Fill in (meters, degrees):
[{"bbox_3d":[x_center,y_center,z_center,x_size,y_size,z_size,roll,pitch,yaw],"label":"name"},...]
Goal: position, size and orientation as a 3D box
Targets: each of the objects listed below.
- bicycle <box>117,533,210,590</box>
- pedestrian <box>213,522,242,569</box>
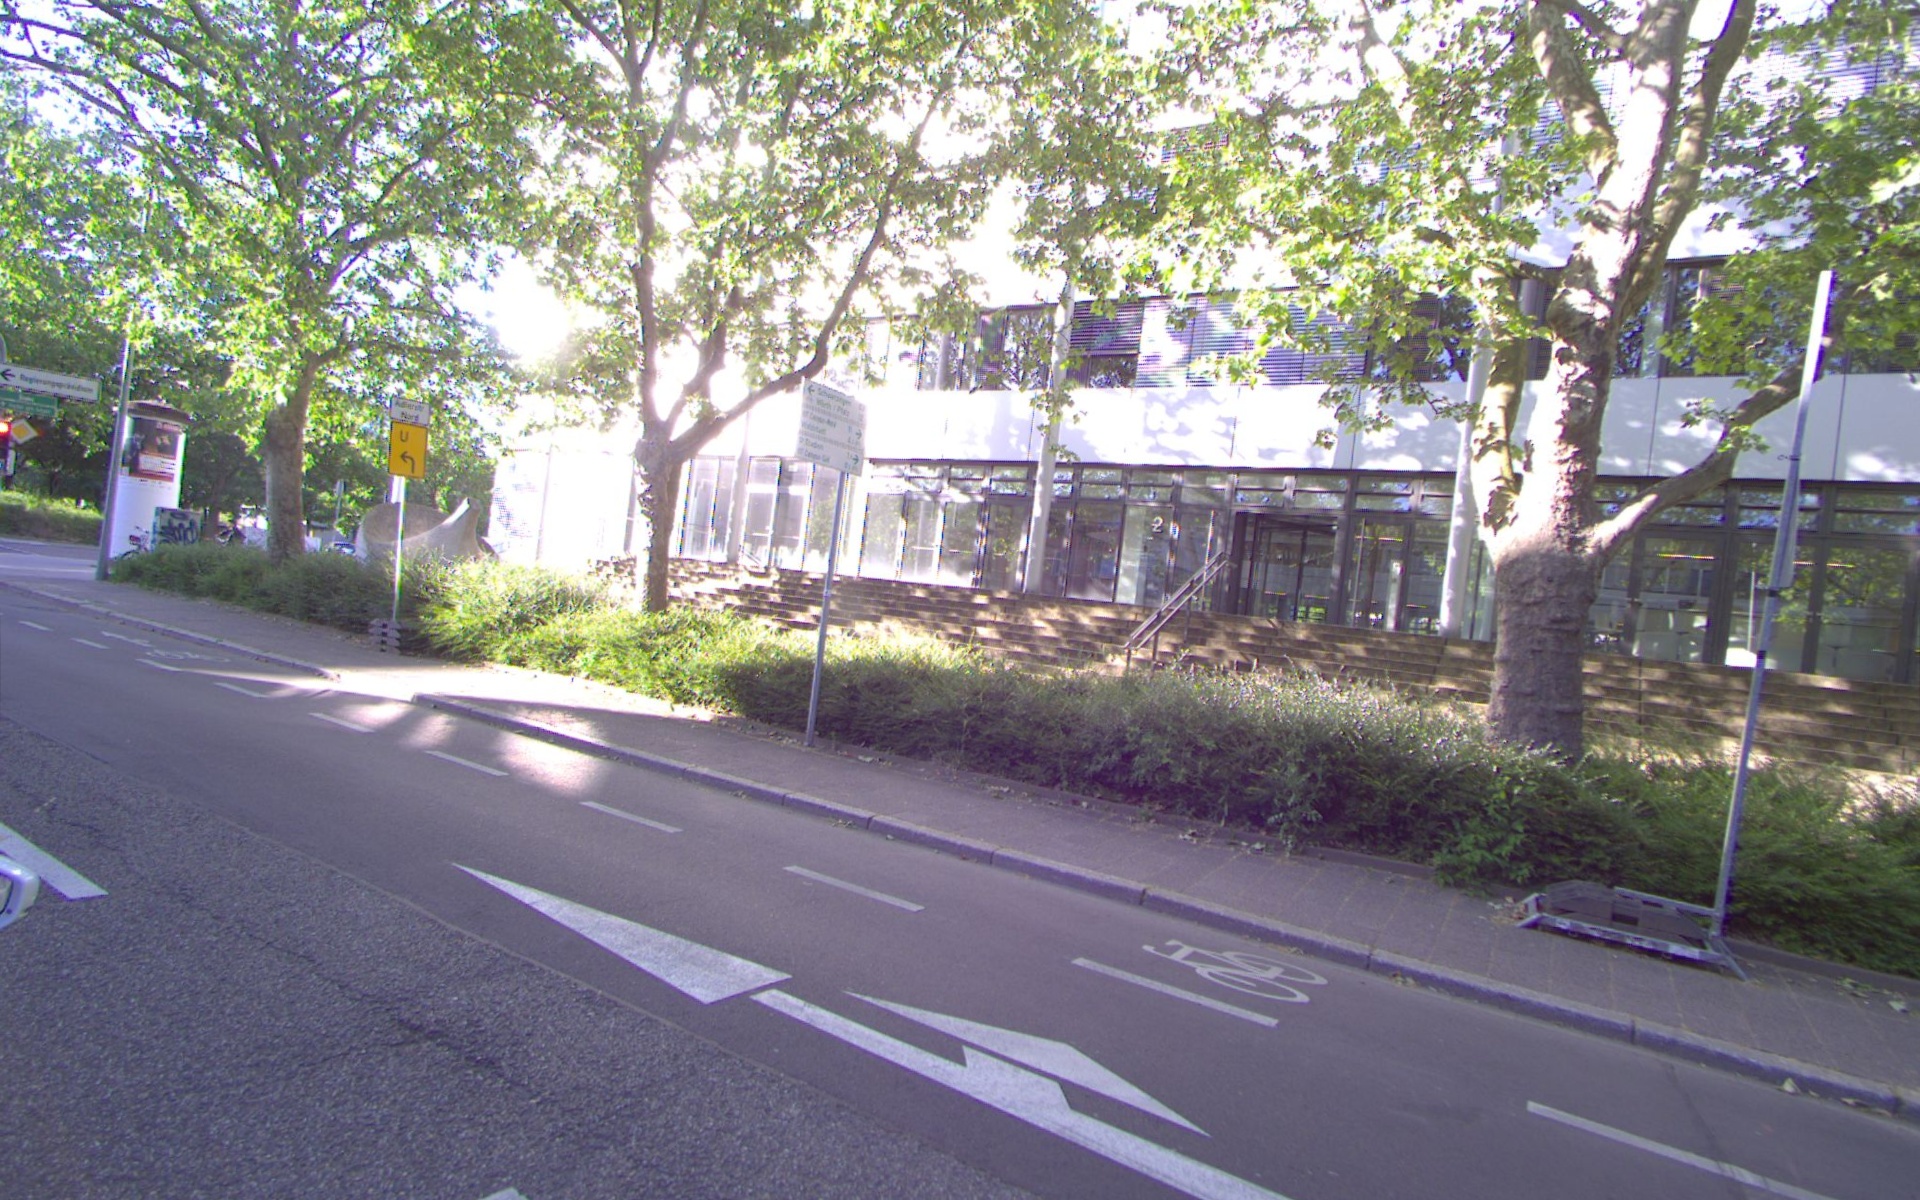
[{"bbox_3d":[-17.374,-0.821,21.969,0.529,1.049,1.418,7,-1,28],"label":"bicycle"},{"bbox_3d":[-29.711,-2.195,40.790,0.620,1.805,0.620,7,0,34],"label":"pedestrian"}]
